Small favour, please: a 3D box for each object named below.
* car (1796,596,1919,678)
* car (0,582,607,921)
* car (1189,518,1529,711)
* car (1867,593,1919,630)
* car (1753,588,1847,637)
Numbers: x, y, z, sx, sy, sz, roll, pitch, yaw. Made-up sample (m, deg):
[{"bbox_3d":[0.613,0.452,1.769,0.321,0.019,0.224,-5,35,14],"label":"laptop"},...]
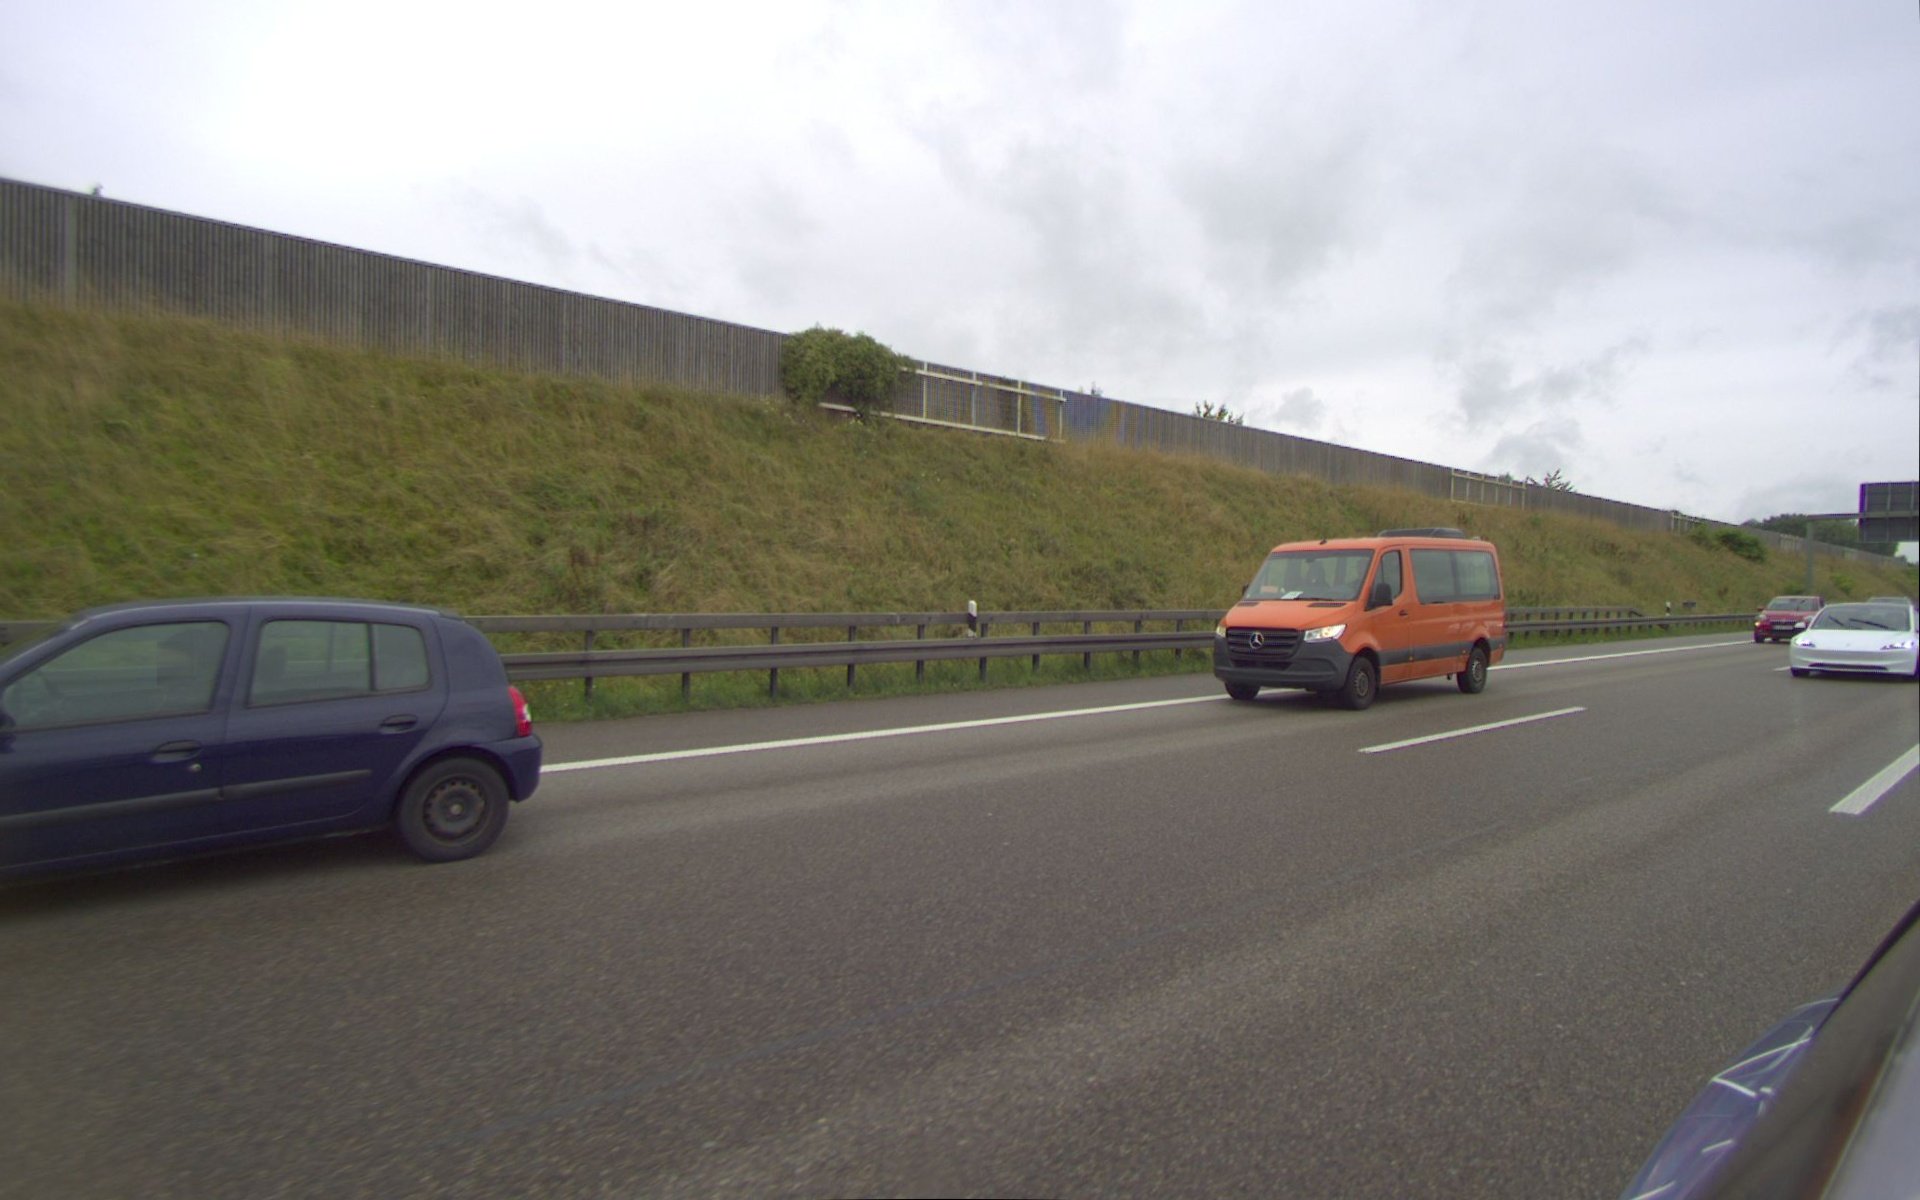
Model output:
[{"bbox_3d":[18.083,0.641,19.841,4.729,1.380,1.876,-1,0,-41],"label":"car"},{"bbox_3d":[-4.061,0.626,5.337,3.808,1.419,1.705,-1,0,-41],"label":"car"},{"bbox_3d":[6.126,0.158,15.039,6.072,2.344,2.090,0,1,-40],"label":"car"},{"bbox_3d":[41.720,0.477,44.711,4.408,1.508,1.927,-1,0,-42],"label":"car"},{"bbox_3d":[28.494,0.393,34.282,3.931,1.555,1.876,-1,0,-42],"label":"car"}]
